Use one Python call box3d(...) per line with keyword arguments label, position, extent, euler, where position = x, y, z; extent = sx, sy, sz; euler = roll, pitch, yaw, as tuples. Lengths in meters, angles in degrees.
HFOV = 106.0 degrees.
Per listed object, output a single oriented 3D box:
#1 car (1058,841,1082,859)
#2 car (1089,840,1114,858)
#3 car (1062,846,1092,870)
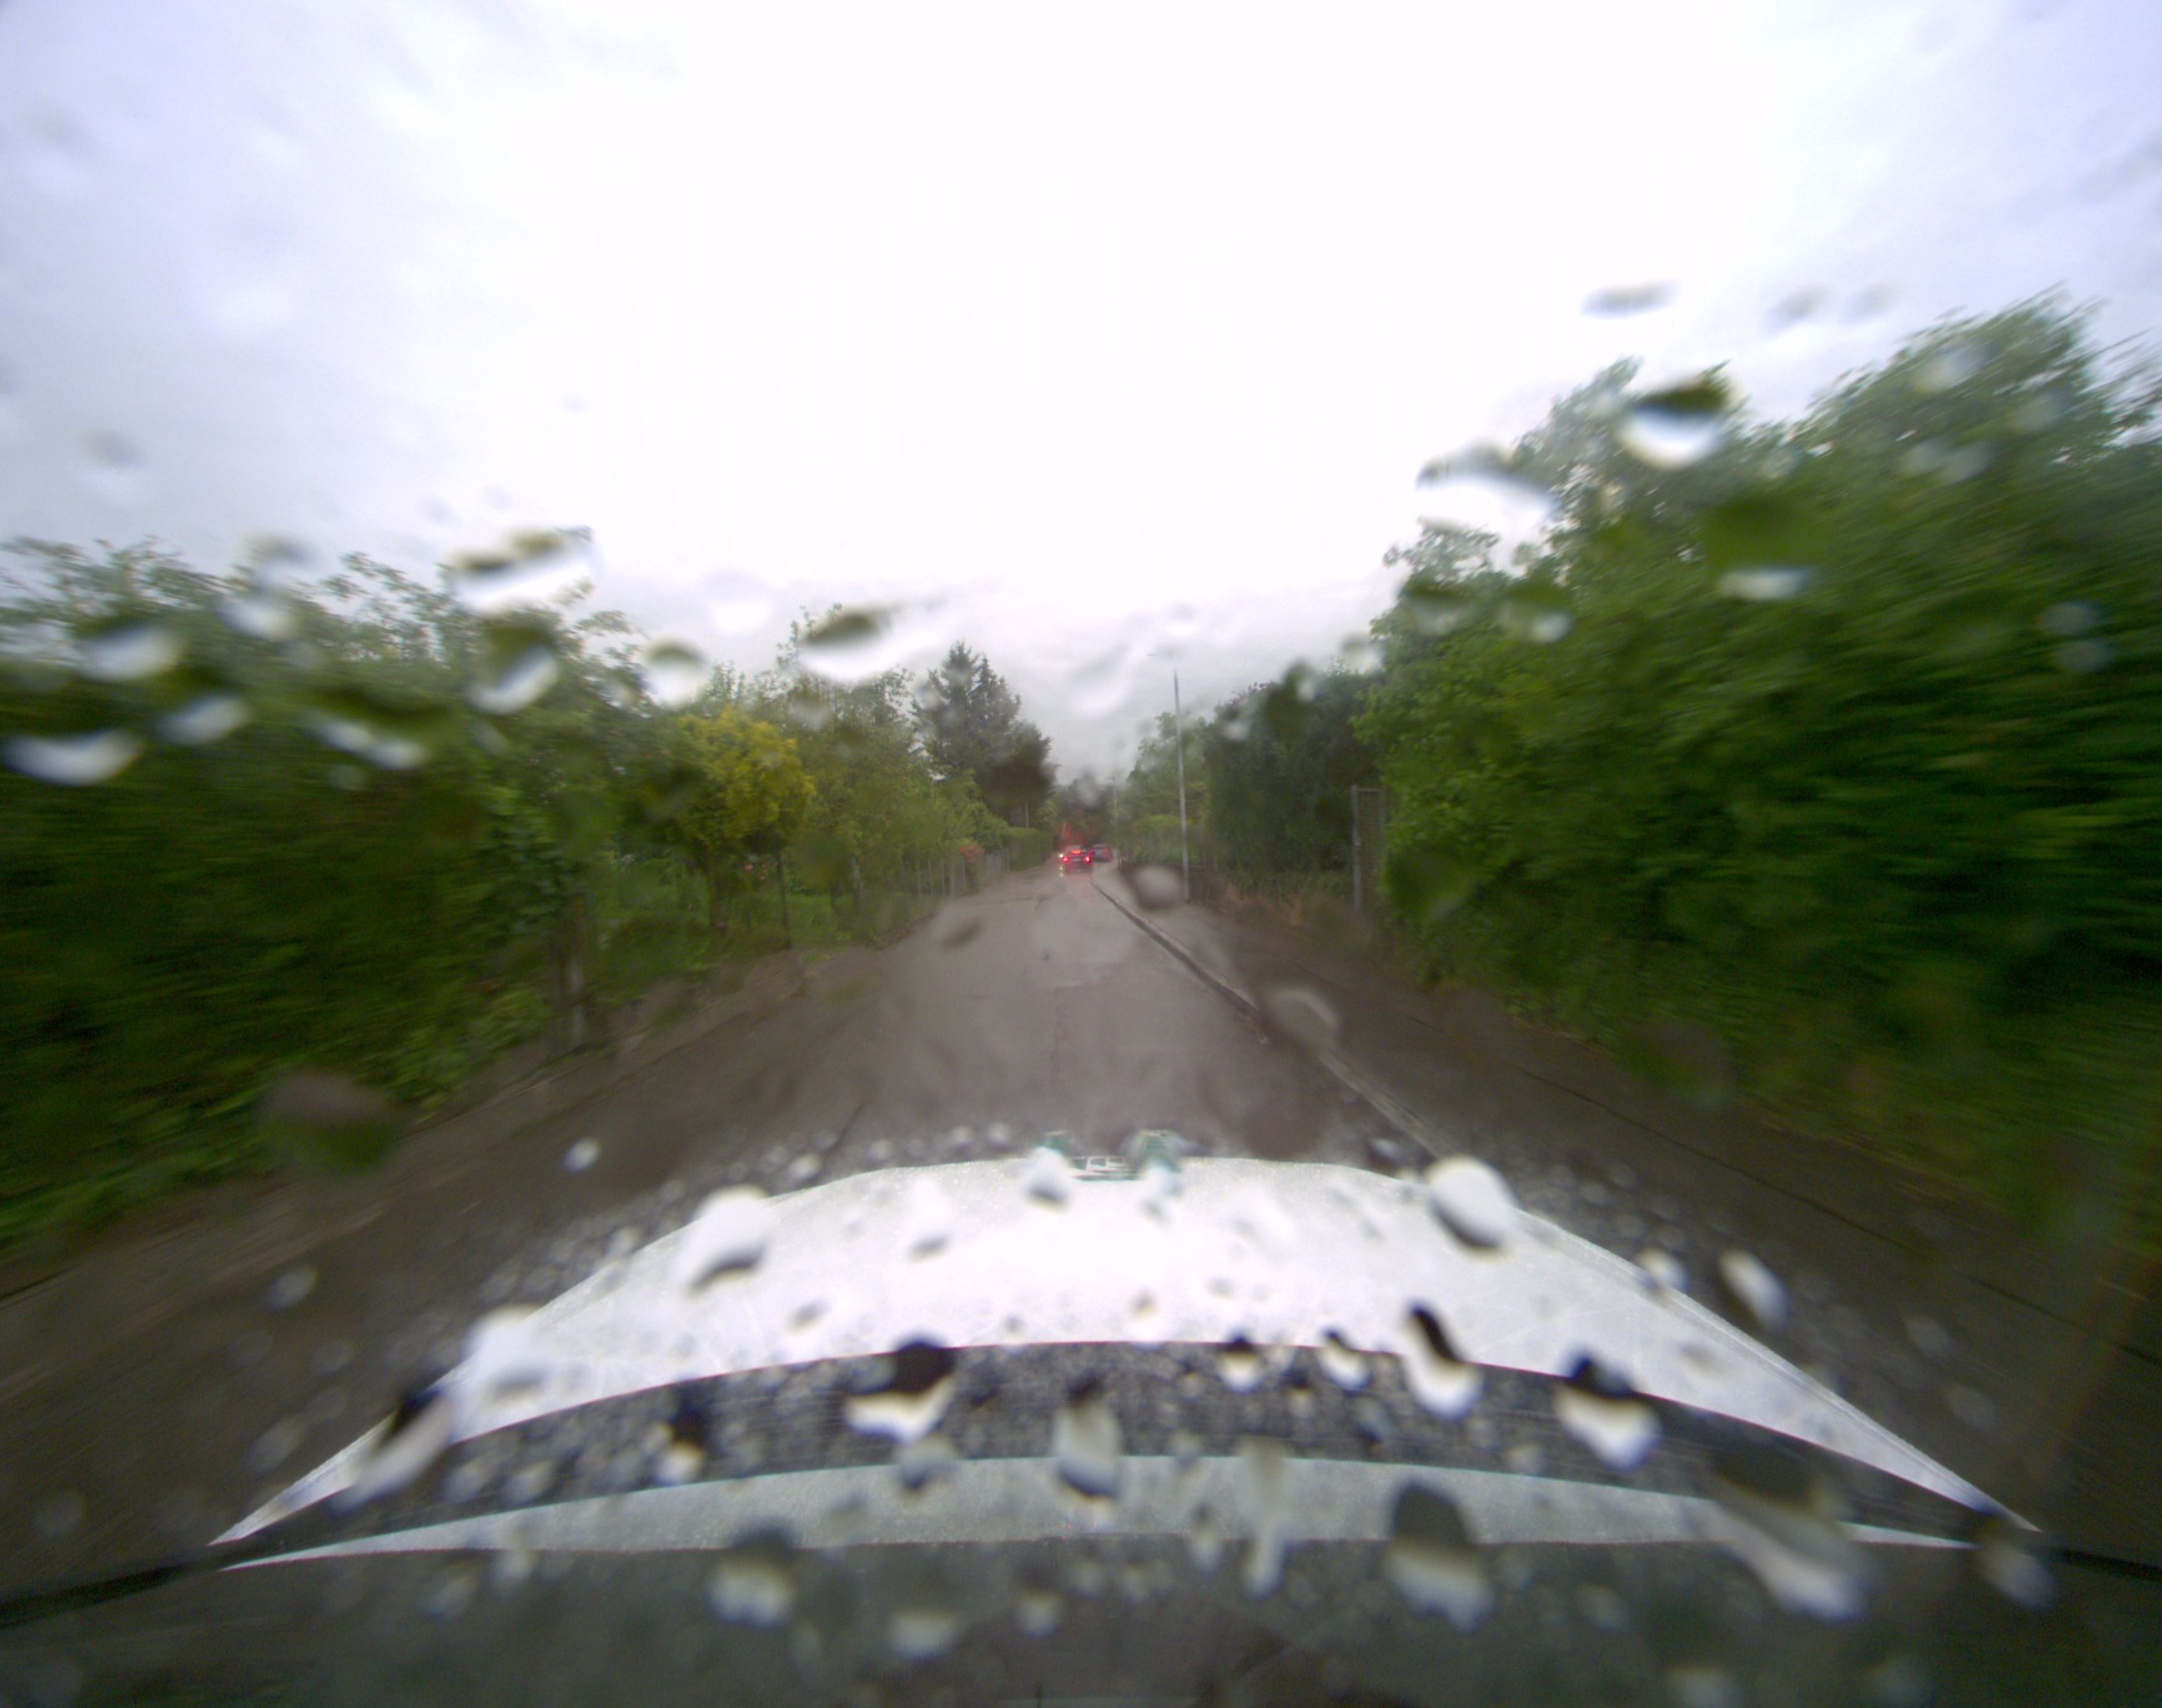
box3d(label="car", position=(-1.014, -0.396, 75.428), extent=(1.771, 1.494, 3.838), euler=(-1, 1, 6))
box3d(label="car", position=(1.915, -0.501, 75.628), extent=(1.667, 1.565, 3.807), euler=(0, 2, 11))
box3d(label="car", position=(-0.239, 0.244, 55.003), extent=(1.827, 1.464, 4.003), euler=(2, 0, 2))
